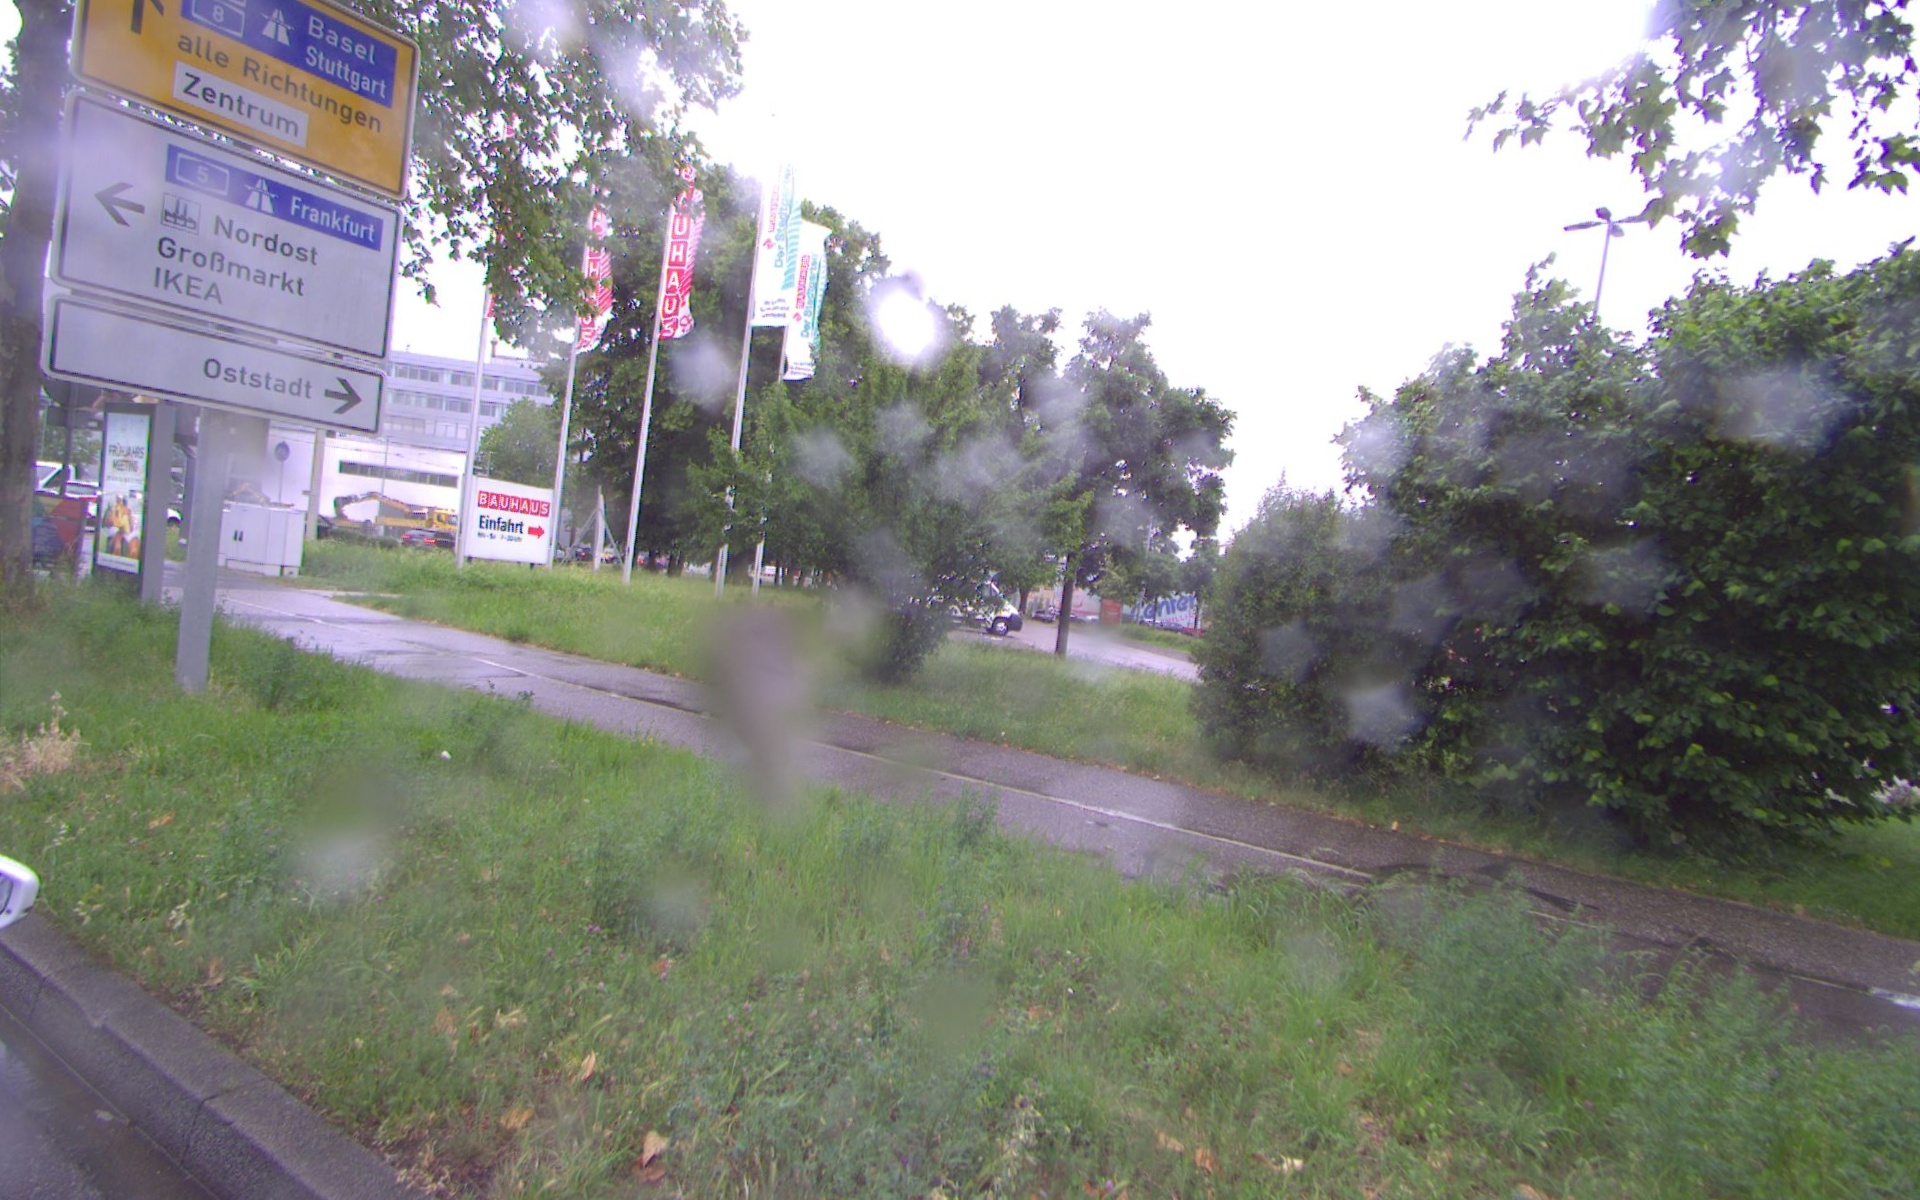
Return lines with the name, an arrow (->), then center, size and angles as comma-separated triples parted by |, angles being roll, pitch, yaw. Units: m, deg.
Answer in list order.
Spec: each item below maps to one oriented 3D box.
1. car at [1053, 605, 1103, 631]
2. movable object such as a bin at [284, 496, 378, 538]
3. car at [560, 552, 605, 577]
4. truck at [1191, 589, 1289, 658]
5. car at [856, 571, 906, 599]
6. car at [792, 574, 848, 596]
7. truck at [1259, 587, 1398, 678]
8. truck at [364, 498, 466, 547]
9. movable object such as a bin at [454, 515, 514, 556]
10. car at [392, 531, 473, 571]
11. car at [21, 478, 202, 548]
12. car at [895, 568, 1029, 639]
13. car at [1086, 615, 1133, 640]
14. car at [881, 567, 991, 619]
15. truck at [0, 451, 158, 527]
car -> 11.914, 1.835, 101.724 | 4.612, 2.038, 2.001 | 7, 0, 3
movable object such as a bin -> -60.575, -7.943, 97.015 | 6.601, 3.034, 3.324 | 7, 1, -4
car -> -29.166, -2.730, 77.917 | 1.892, 1.606, 4.623 | 6, 0, -4
truck -> 16.536, 1.328, 60.270 | 2.507, 3.511, 9.397 | 8, 0, -2
car -> -7.843, -1.460, 100.597 | 4.670, 2.241, 1.964 | 6, 1, -2
car -> -15.402, -1.601, 111.073 | 5.853, 1.754, 2.276 | 6, 1, -3
truck -> 16.716, 1.334, 46.408 | 2.508, 3.513, 8.008 | 8, 1, -4
truck -> -52.660, -7.457, 97.339 | 7.747, 3.552, 3.325 | 7, 1, -4
movable object such as a bin -> -50.167, -6.741, 106.157 | 3.268, 3.552, 6.316 | 6, 1, -3
car -> -27.231, -2.483, 52.130 | 1.892, 1.606, 4.623 | 6, 0, -4
car -> -26.763, -2.687, 31.972 | 1.892, 1.605, 4.623 | 6, 0, -3
car -> 0.039, 0.132, 40.923 | 5.015, 2.232, 2.188 | 7, 1, -9
car -> 15.978, 2.972, 107.547 | 4.612, 2.038, 2.001 | 7, 0, 3
car -> -1.378, -0.414, 57.648 | 5.955, 2.232, 2.190 | 7, 1, -2
truck -> -38.057, -4.697, 42.895 | 2.438, 2.394, 6.861 | 7, 0, -4
